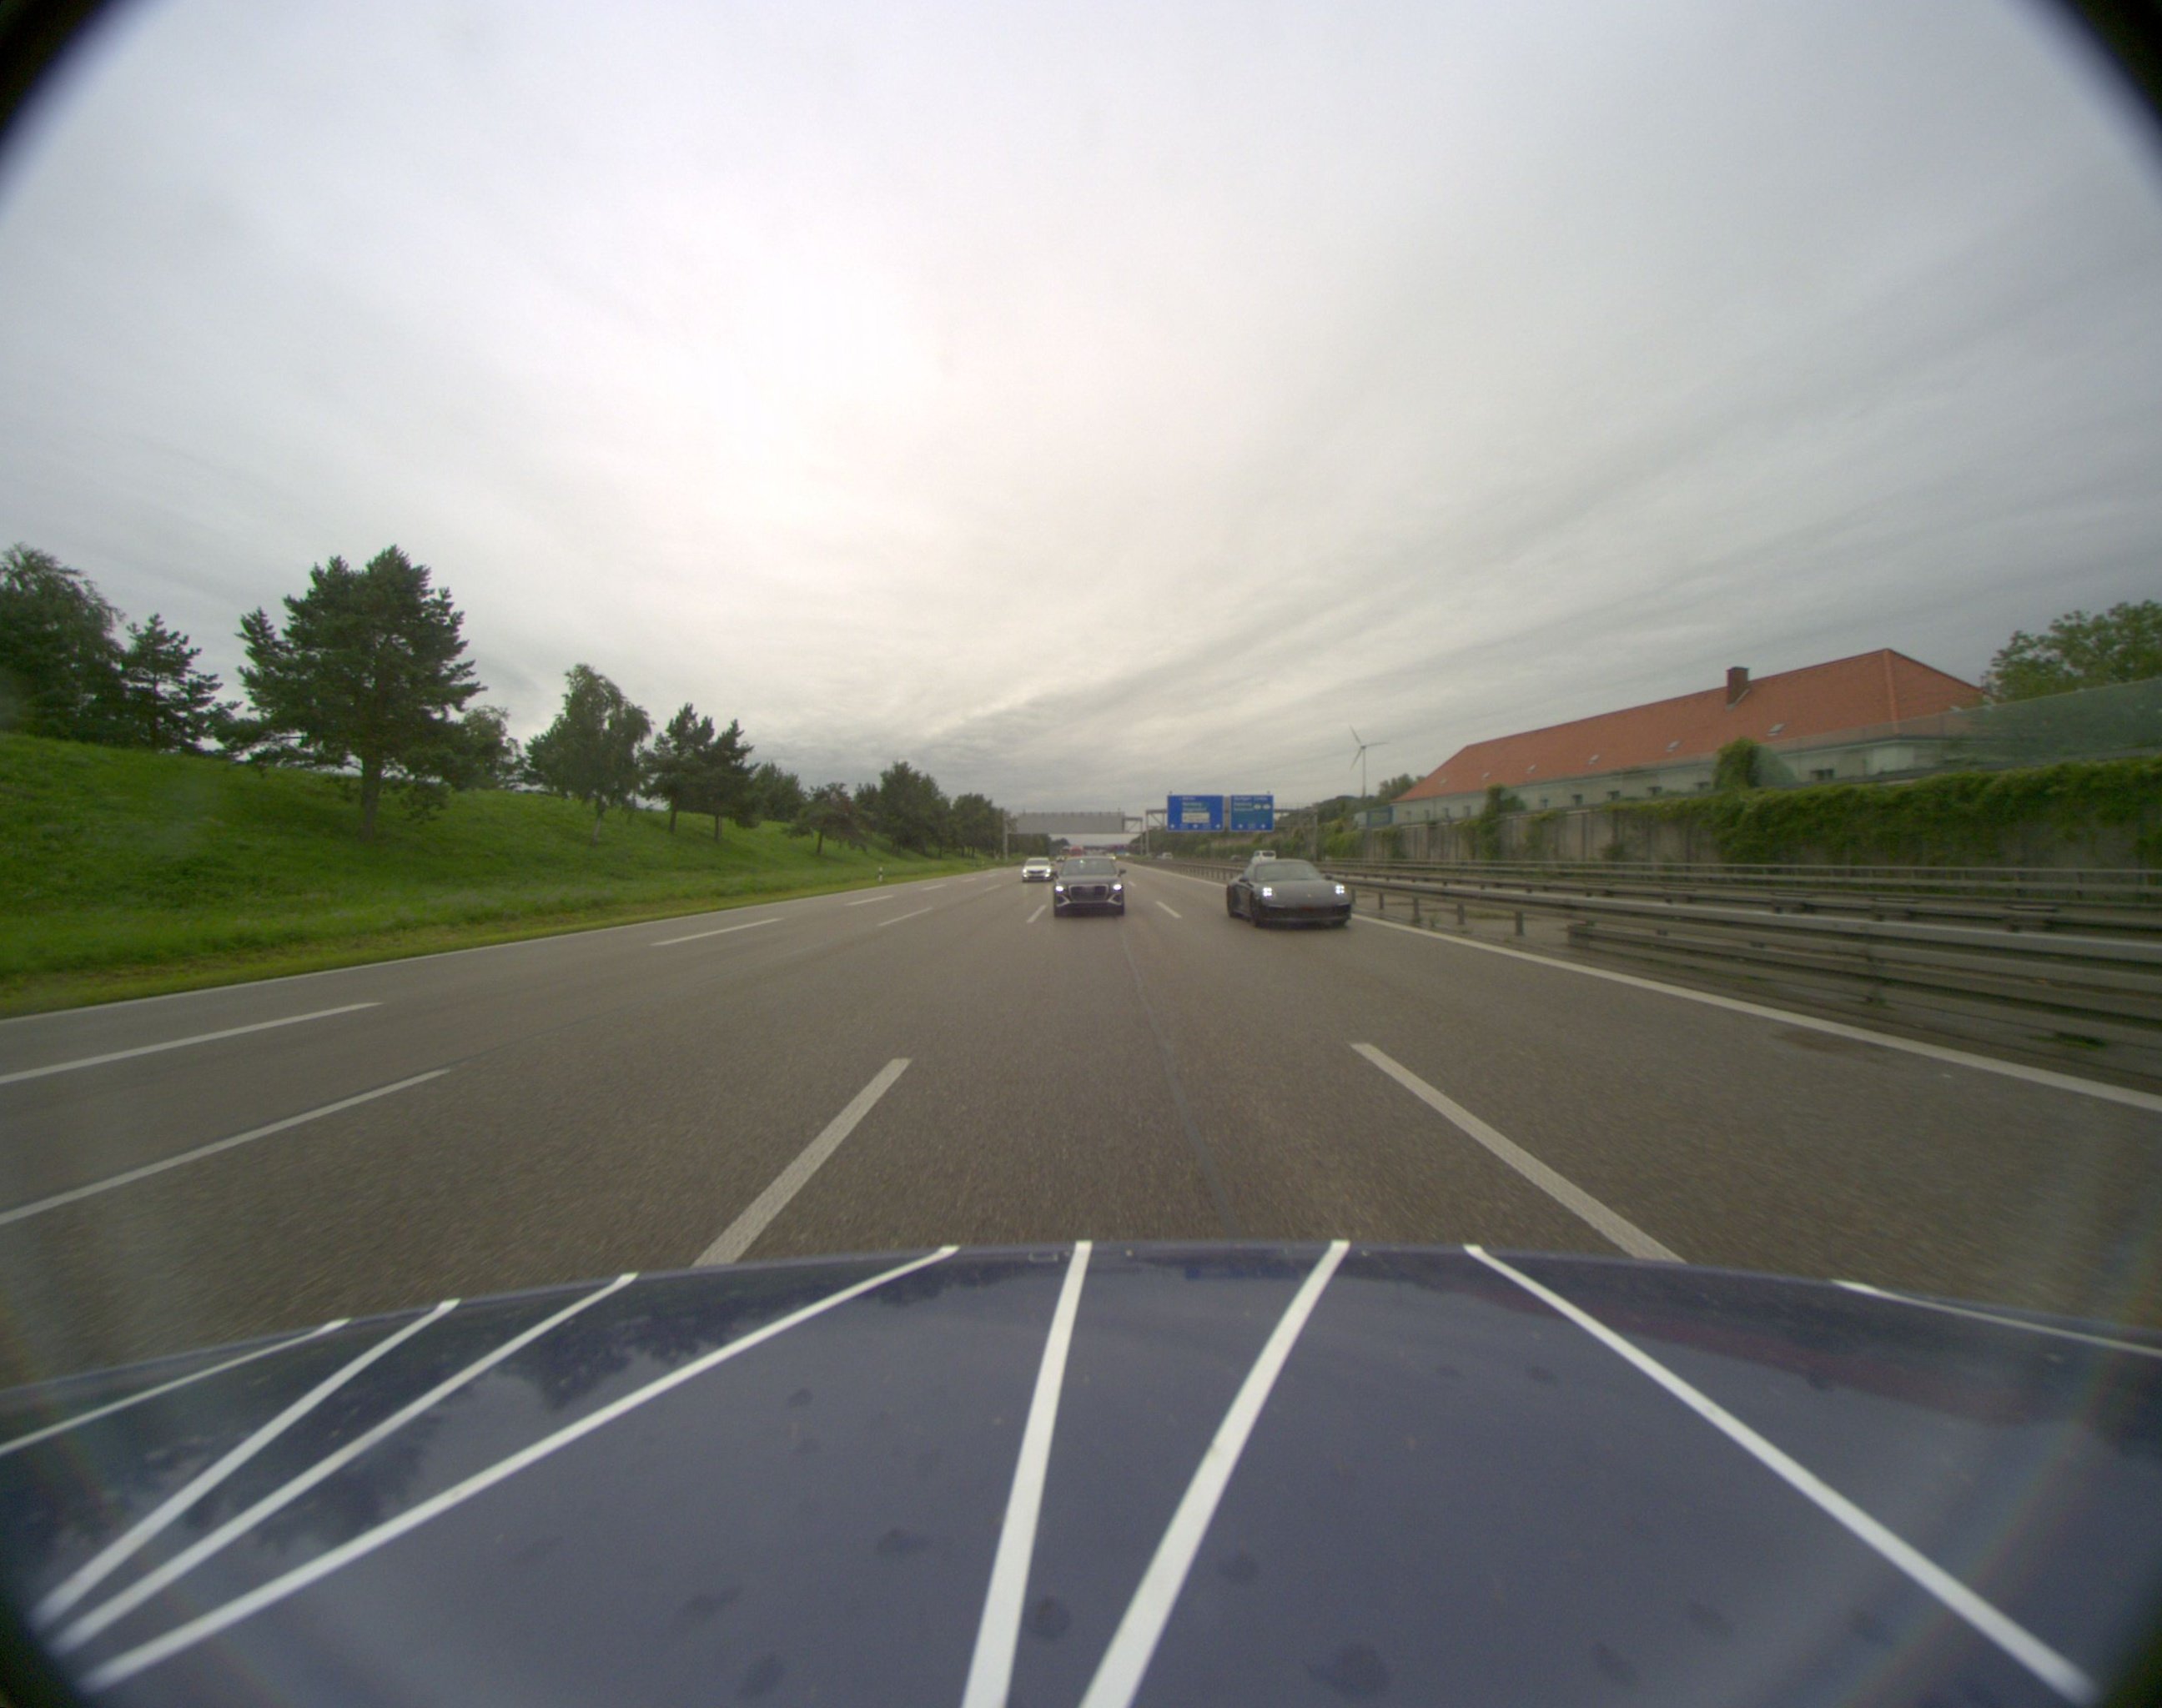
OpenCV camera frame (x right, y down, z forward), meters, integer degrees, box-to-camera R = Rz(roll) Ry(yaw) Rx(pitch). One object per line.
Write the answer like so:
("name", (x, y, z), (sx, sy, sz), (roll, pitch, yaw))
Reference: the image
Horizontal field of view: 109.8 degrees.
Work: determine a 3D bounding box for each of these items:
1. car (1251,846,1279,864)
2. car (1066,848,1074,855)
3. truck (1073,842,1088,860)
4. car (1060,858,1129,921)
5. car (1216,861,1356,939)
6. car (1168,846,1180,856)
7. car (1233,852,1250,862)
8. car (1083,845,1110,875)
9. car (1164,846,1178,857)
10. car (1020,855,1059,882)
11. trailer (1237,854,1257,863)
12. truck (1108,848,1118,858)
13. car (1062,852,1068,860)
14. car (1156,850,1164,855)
("car", (21.037, 0.098, 86.933), (1.998, 2.002, 4.956), (-2, 1, 1))
("car", (-2.880, -0.672, 205.231), (1.998, 2.002, 4.000), (-2, 1, 2))
("truck", (-0.090, -0.763, 162.361), (2.836, 3.634, 10.670), (-2, 1, 1))
("car", (0.336, 0.863, 20.068), (1.616, 1.403, 3.326), (-2, 1, 1))
("car", (4.175, 0.863, 16.312), (1.655, 1.264, 4.924), (-2, 1, 0))
("car", (20.059, -0.639, 163.704), (1.937, 2.002, 4.731), (-2, 1, 0))
("car", (26.741, 0.498, 126.777), (1.960, 1.543, 4.521), (-2, 1, 2))
("car", (1.574, 0.515, 76.643), (2.459, 2.726, 8.265), (-2, 1, 1))
("car", (15.621, -0.456, 132.244), (1.792, 1.741, 4.535), (-1, 1, 0))
("car", (-2.507, 0.834, 46.979), (1.998, 1.555, 4.910), (0, 0, 1))
("trailer", (26.567, 0.652, 121.926), (2.135, 1.260, 5.247), (-2, 1, 1))
("truck", (6.534, -0.261, 156.362), (1.998, 2.002, 4.000), (-2, 0, 1))
("car", (-3.663, 0.362, 174.798), (1.346, 1.732, 3.106), (-2, 1, 1))
("car", (27.350, -0.518, 261.616), (2.214, 1.863, 5.754), (-2, 1, 1))
